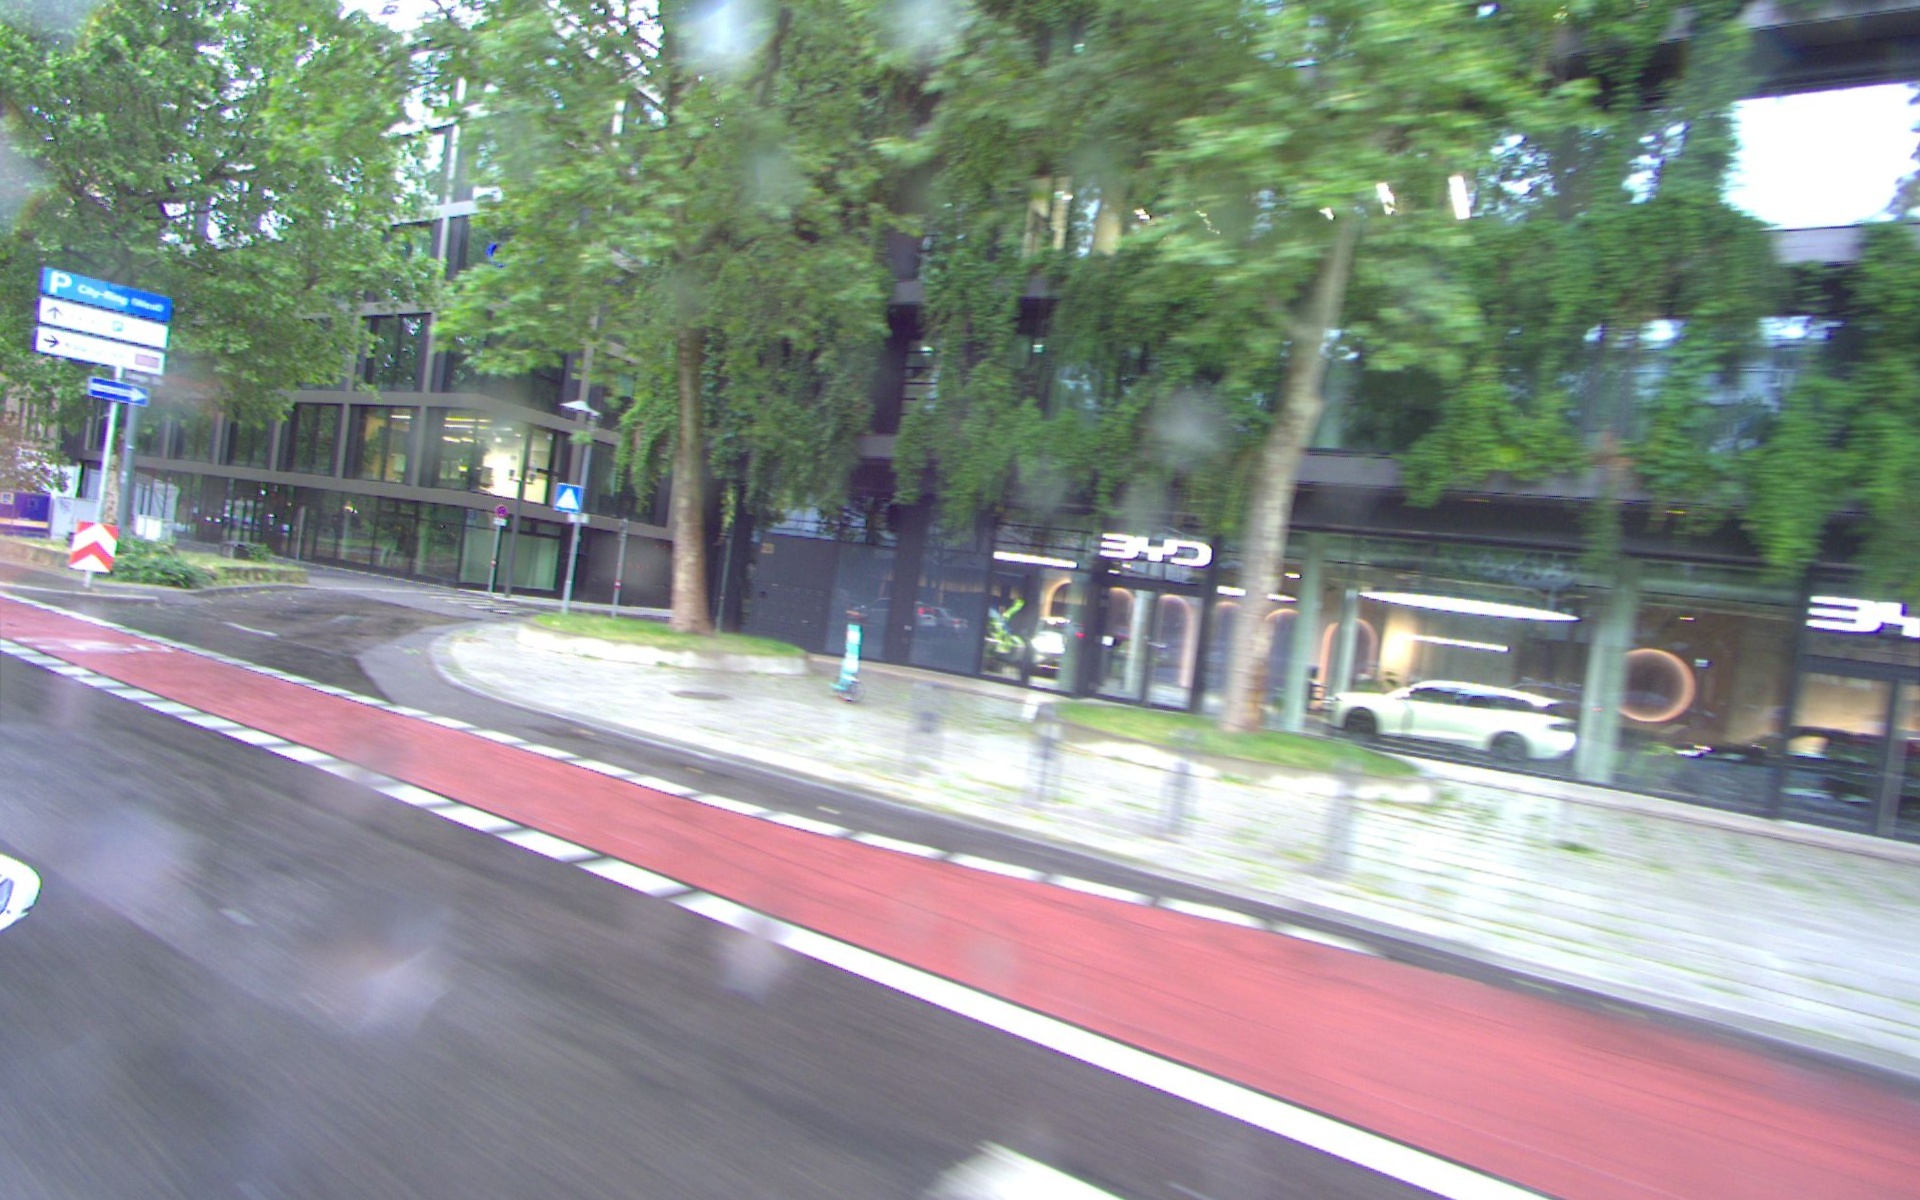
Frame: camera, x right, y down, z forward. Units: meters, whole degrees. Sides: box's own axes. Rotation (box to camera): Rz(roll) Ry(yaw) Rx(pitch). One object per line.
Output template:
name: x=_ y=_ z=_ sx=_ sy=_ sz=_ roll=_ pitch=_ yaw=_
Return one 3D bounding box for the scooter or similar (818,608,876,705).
scooter or similar: x=-1.610 y=0.779 z=14.187 sx=0.377 sy=1.243 sz=1.073 roll=7 pitch=0 yaw=-22
